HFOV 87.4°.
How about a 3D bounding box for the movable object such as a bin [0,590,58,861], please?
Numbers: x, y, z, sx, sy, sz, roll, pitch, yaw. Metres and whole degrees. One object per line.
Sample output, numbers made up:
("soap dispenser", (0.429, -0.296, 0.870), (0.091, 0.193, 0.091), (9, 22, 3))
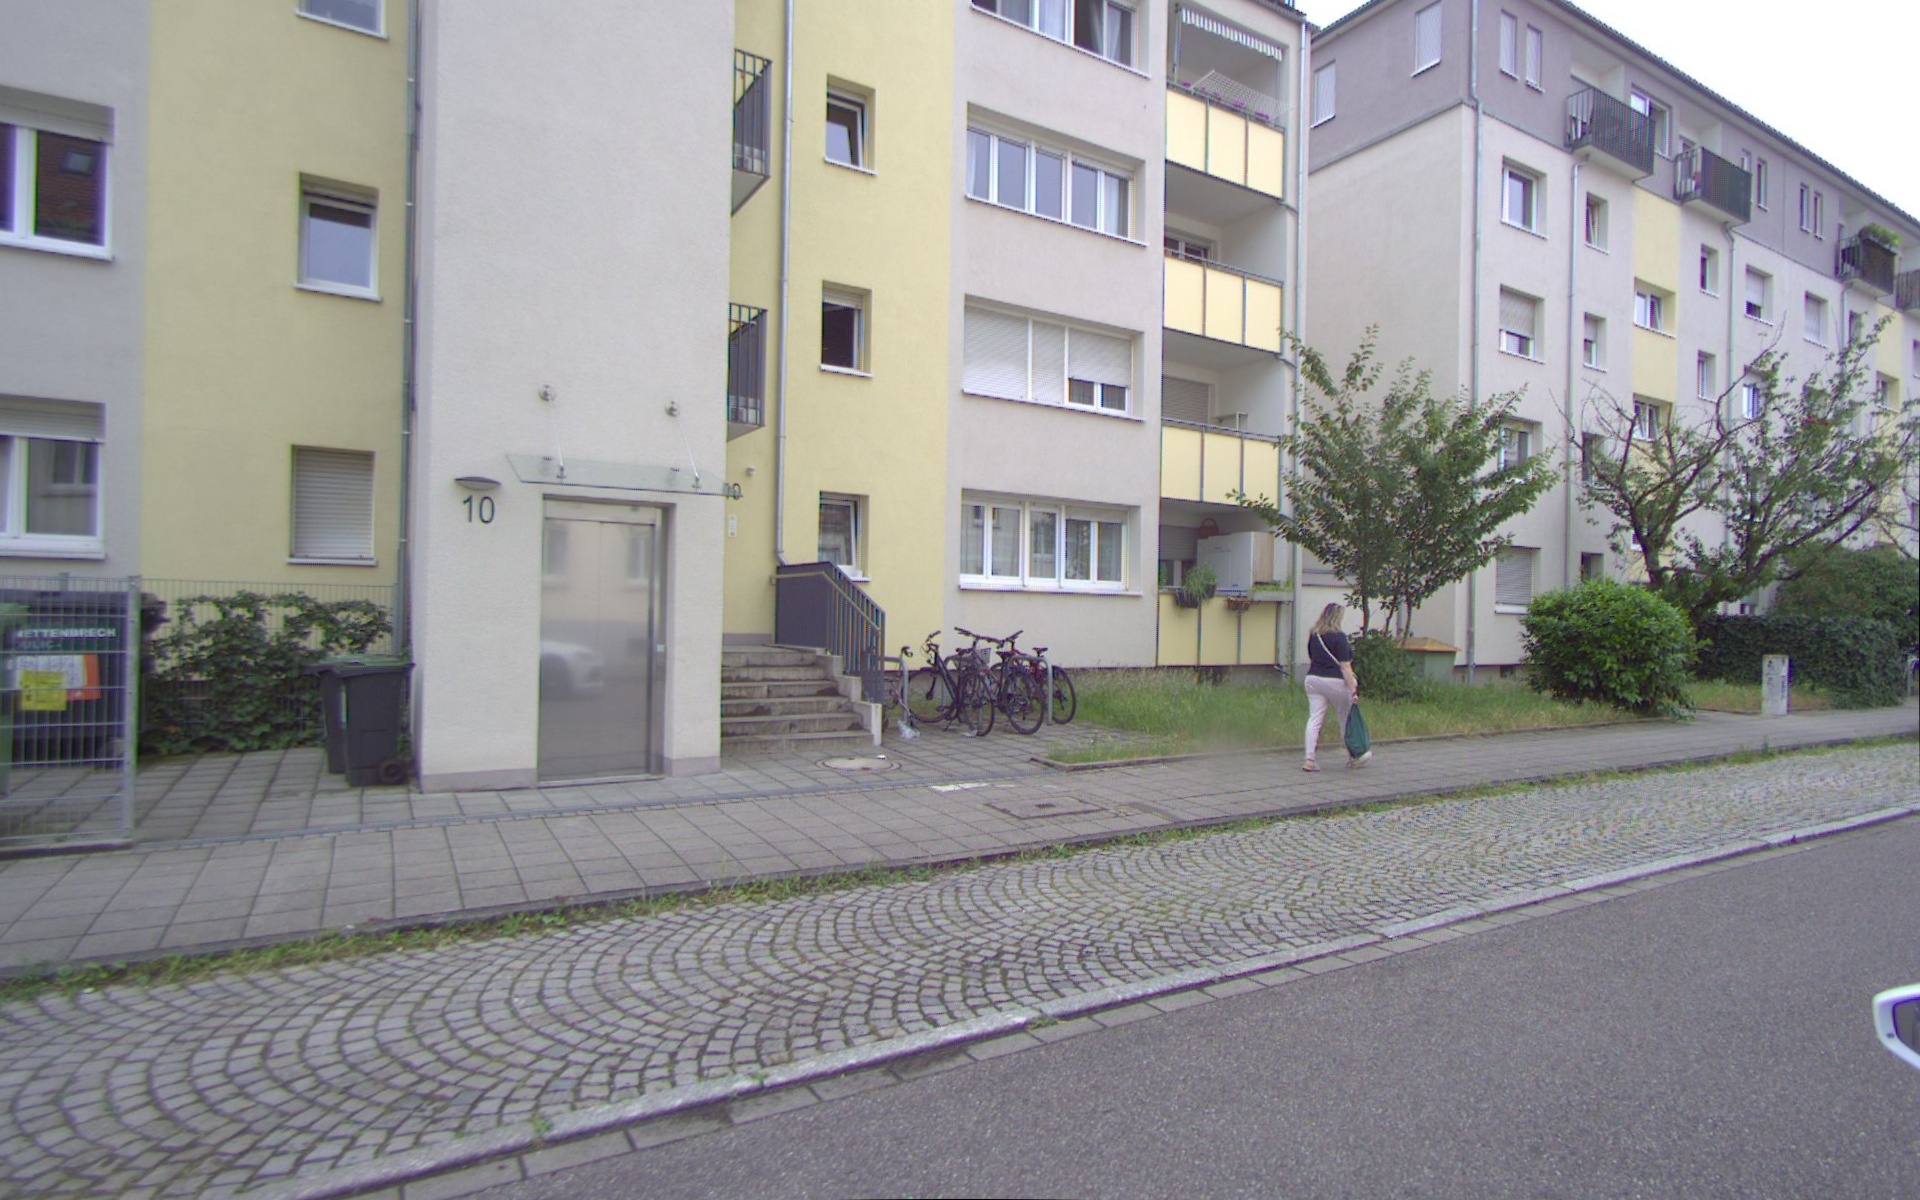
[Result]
("movable object such as a bin", (-5.871, 0.659, 5.435), (1.271, 1.448, 0.800), (2, 0, -27))

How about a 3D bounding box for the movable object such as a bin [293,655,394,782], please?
("movable object such as a bin", (-4.936, 0.923, 8.074), (0.644, 0.934, 0.633), (2, -1, -31))

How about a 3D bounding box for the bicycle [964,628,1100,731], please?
("bicycle", (0.863, 0.958, 12.679), (0.617, 1.156, 2.010), (2, -1, -33))

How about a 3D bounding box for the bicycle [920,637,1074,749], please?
("bicycle", (0.388, 1.038, 11.773), (0.618, 1.156, 2.006), (2, -1, -40))

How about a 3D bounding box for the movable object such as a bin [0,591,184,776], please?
("movable object such as a bin", (-7.054, 0.620, 7.965), (1.273, 1.357, 0.974), (2, 0, -31))

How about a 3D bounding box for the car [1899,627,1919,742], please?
("car", (15.434, 1.255, 14.521), (3.826, 1.591, 1.711), (2, 1, -31))

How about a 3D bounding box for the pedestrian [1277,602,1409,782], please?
("pedestrian", (3.694, 0.848, 9.701), (0.937, 1.631, 0.794), (2, -1, -35))

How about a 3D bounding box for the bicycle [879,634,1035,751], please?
("bicycle", (-0.075, 0.991, 11.345), (0.618, 1.156, 2.006), (2, -1, -40))

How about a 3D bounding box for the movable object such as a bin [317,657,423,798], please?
("movable object such as a bin", (-4.450, 0.931, 7.597), (0.644, 0.977, 0.633), (2, -1, -31))
